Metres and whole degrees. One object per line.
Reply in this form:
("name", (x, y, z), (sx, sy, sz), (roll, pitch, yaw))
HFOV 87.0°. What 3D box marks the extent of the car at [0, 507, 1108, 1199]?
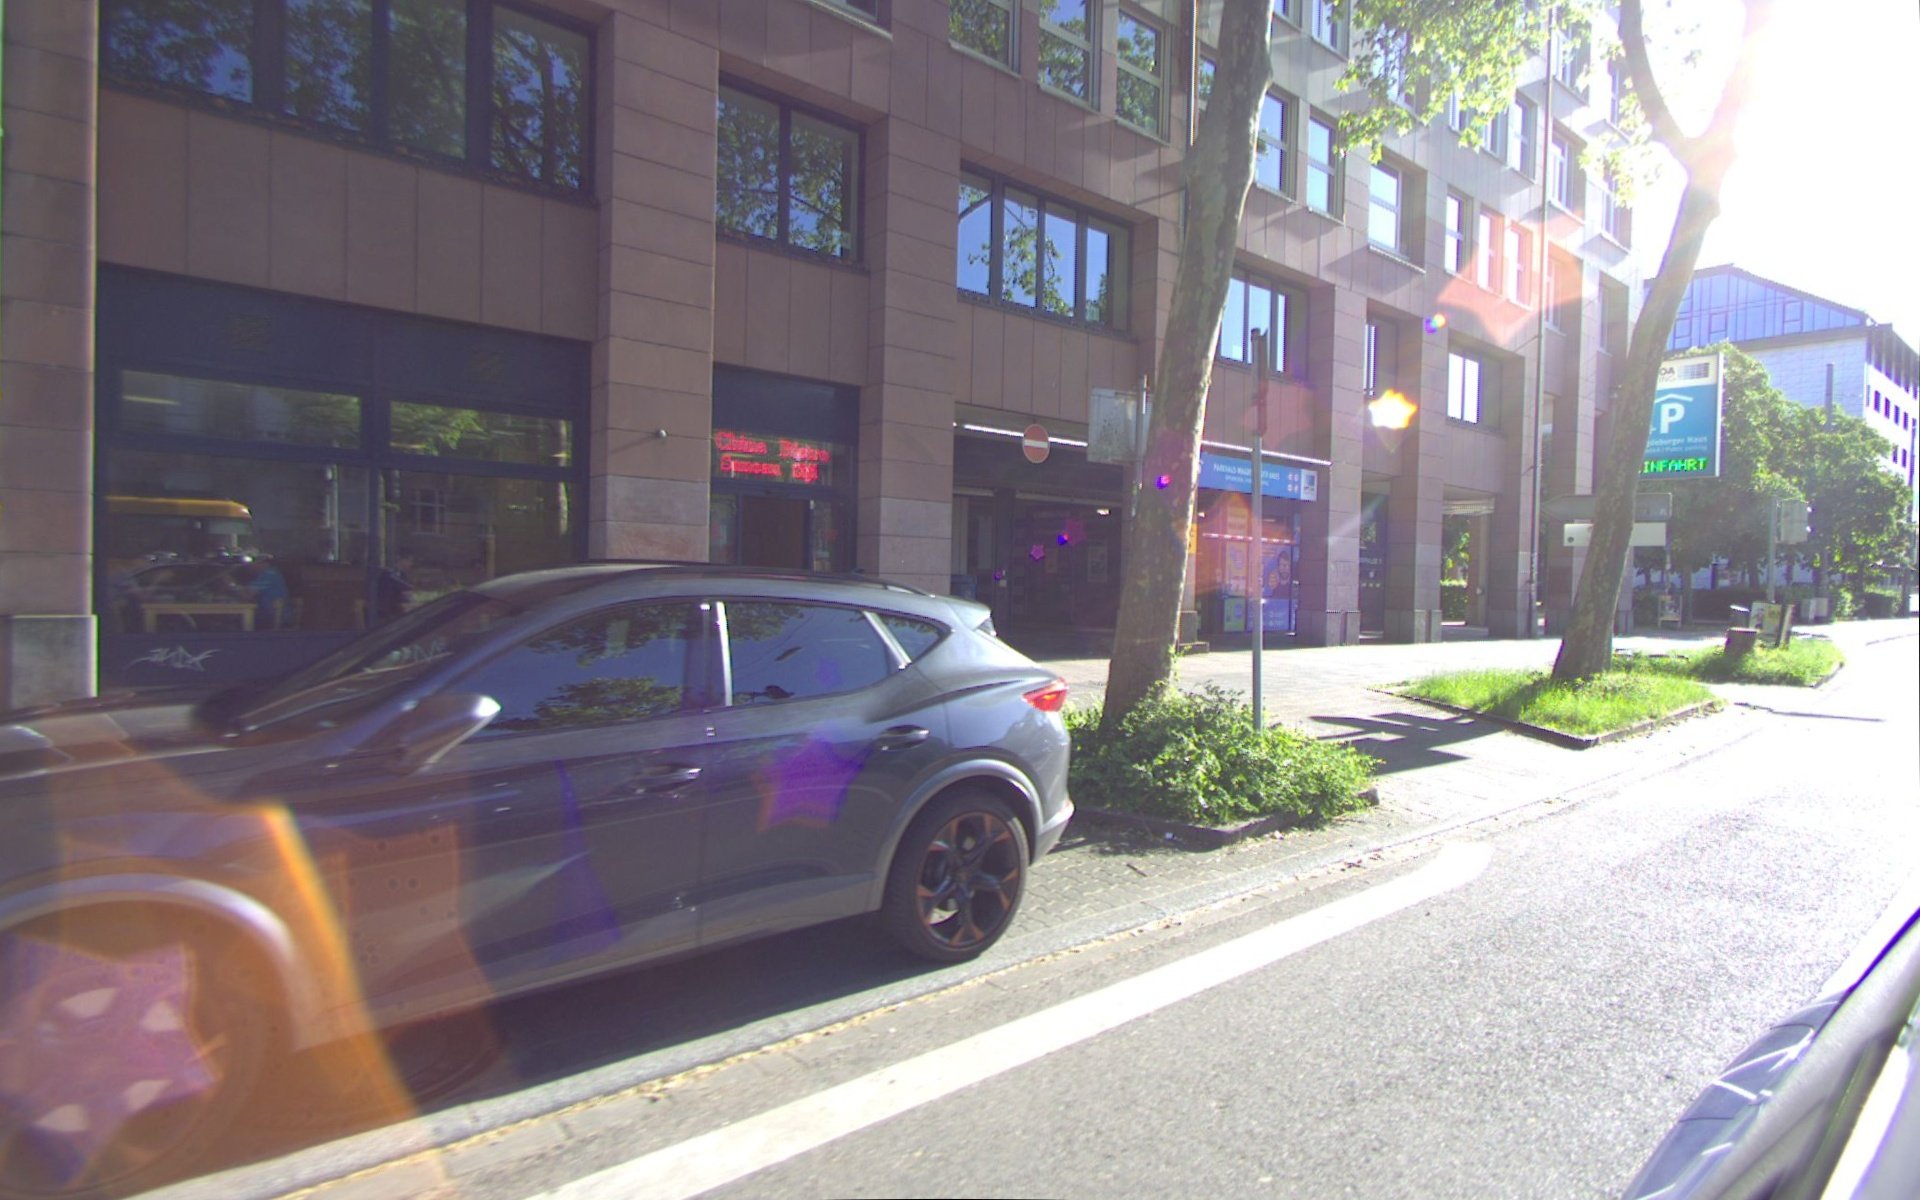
("car", (-1.544, 0.523, 3.764), (4.202, 1.589, 1.673), (-1, 4, -38))
